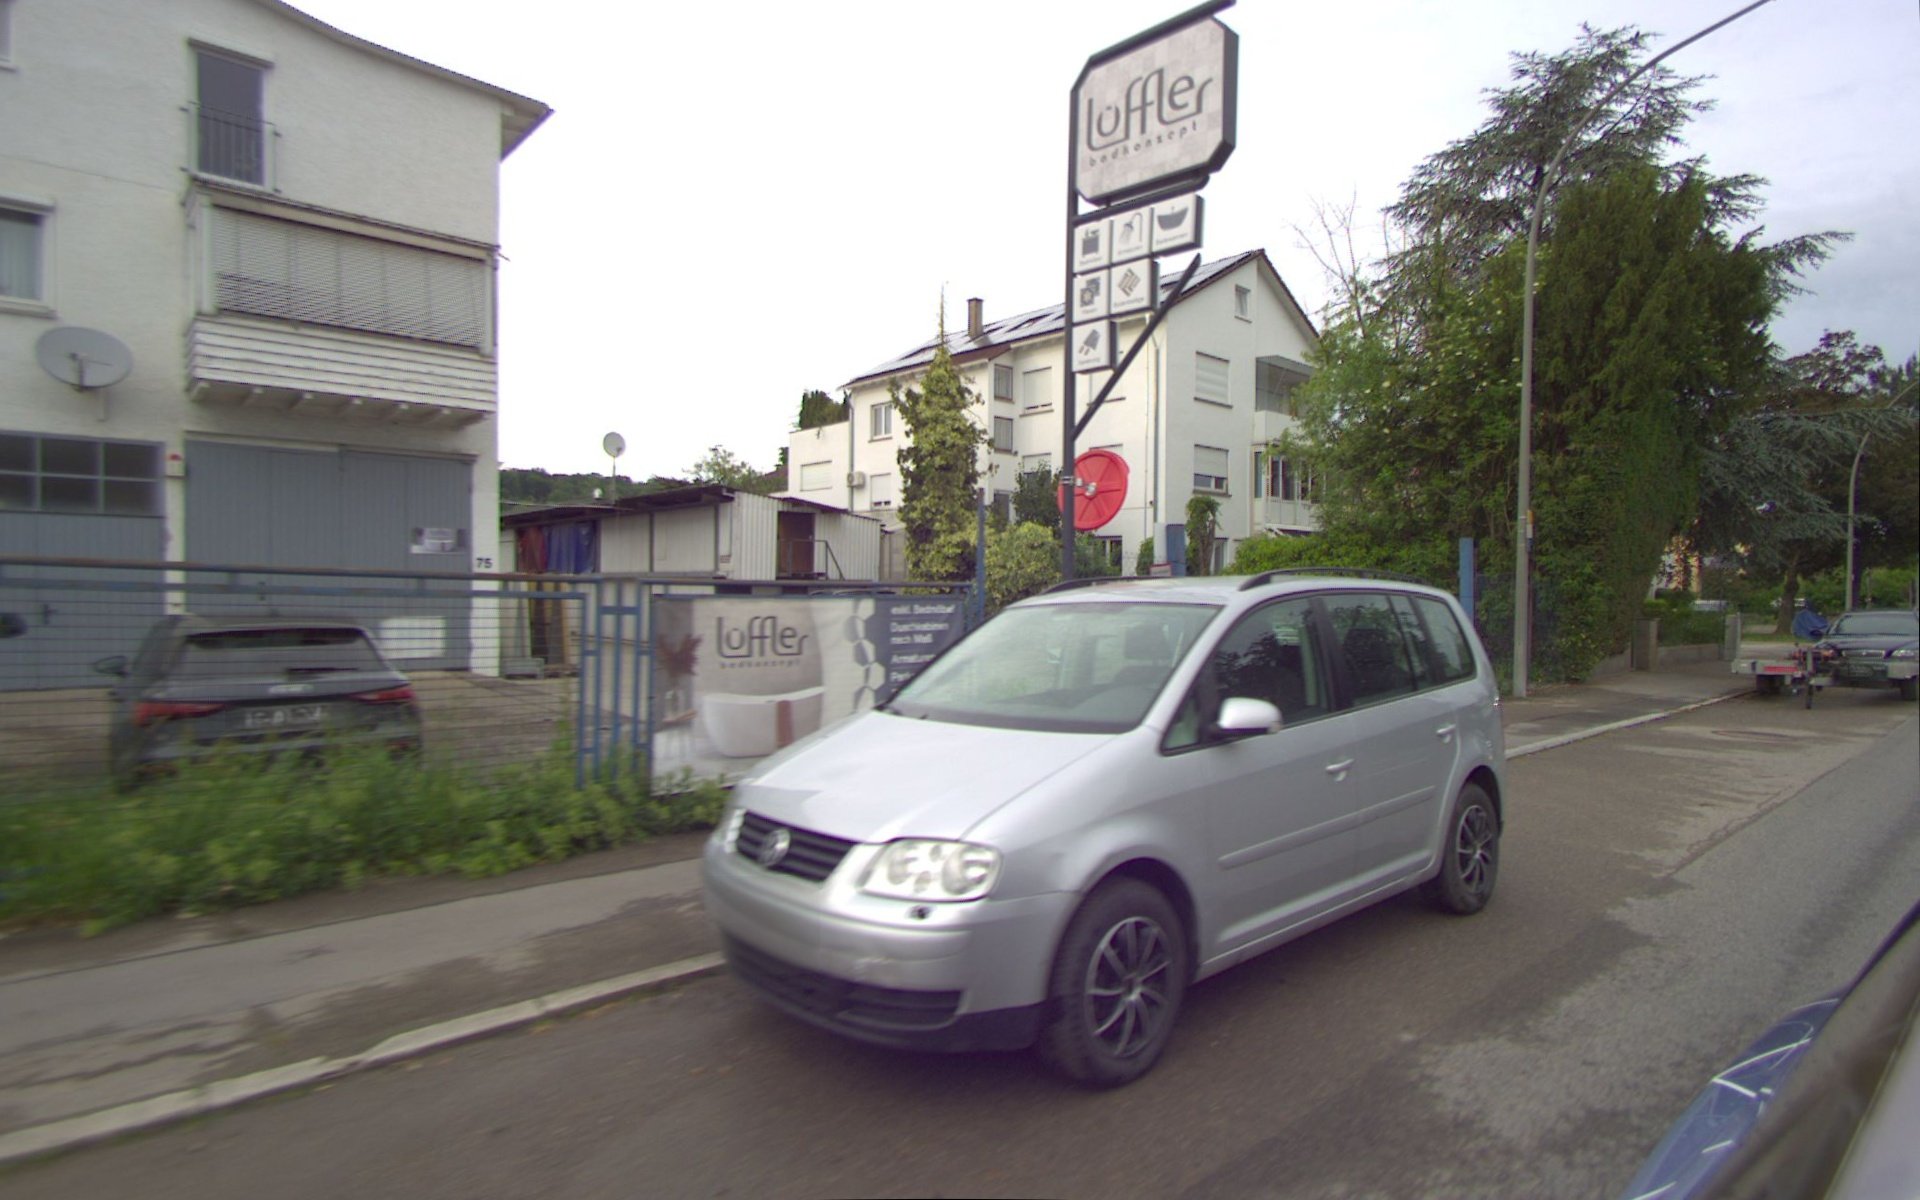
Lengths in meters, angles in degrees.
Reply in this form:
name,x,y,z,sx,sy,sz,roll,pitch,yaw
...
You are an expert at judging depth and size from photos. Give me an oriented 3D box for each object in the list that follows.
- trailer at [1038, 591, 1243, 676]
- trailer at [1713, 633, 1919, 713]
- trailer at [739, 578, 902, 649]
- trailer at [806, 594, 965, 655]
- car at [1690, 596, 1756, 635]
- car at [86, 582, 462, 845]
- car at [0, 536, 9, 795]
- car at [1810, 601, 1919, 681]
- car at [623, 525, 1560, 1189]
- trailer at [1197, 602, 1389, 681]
name,x,y,z,sx,sy,sz,roll,pitch,yaw
trailer,3.838,0.600,20.988,4.726,1.539,1.770,0,1,-44
trailer,14.237,1.049,16.260,6.521,0.909,2.177,0,-1,-42
trailer,-3.888,0.352,28.775,1.993,1.836,4.336,-1,0,43
trailer,-1.907,0.604,26.751,4.024,1.483,1.643,0,0,-41
car,31.514,0.600,41.741,1.744,1.507,4.053,1,1,44
car,-5.514,0.648,7.908,1.965,1.475,4.110,0,0,-41
car,-6.868,0.483,5.701,1.965,1.910,4.739,0,0,-41
car,18.862,0.765,20.449,4.565,1.451,1.743,0,-2,-40
car,0.911,0.629,4.566,4.295,1.642,1.742,0,0,-40
trailer,6.307,0.707,19.004,3.821,1.291,1.619,0,0,-39
